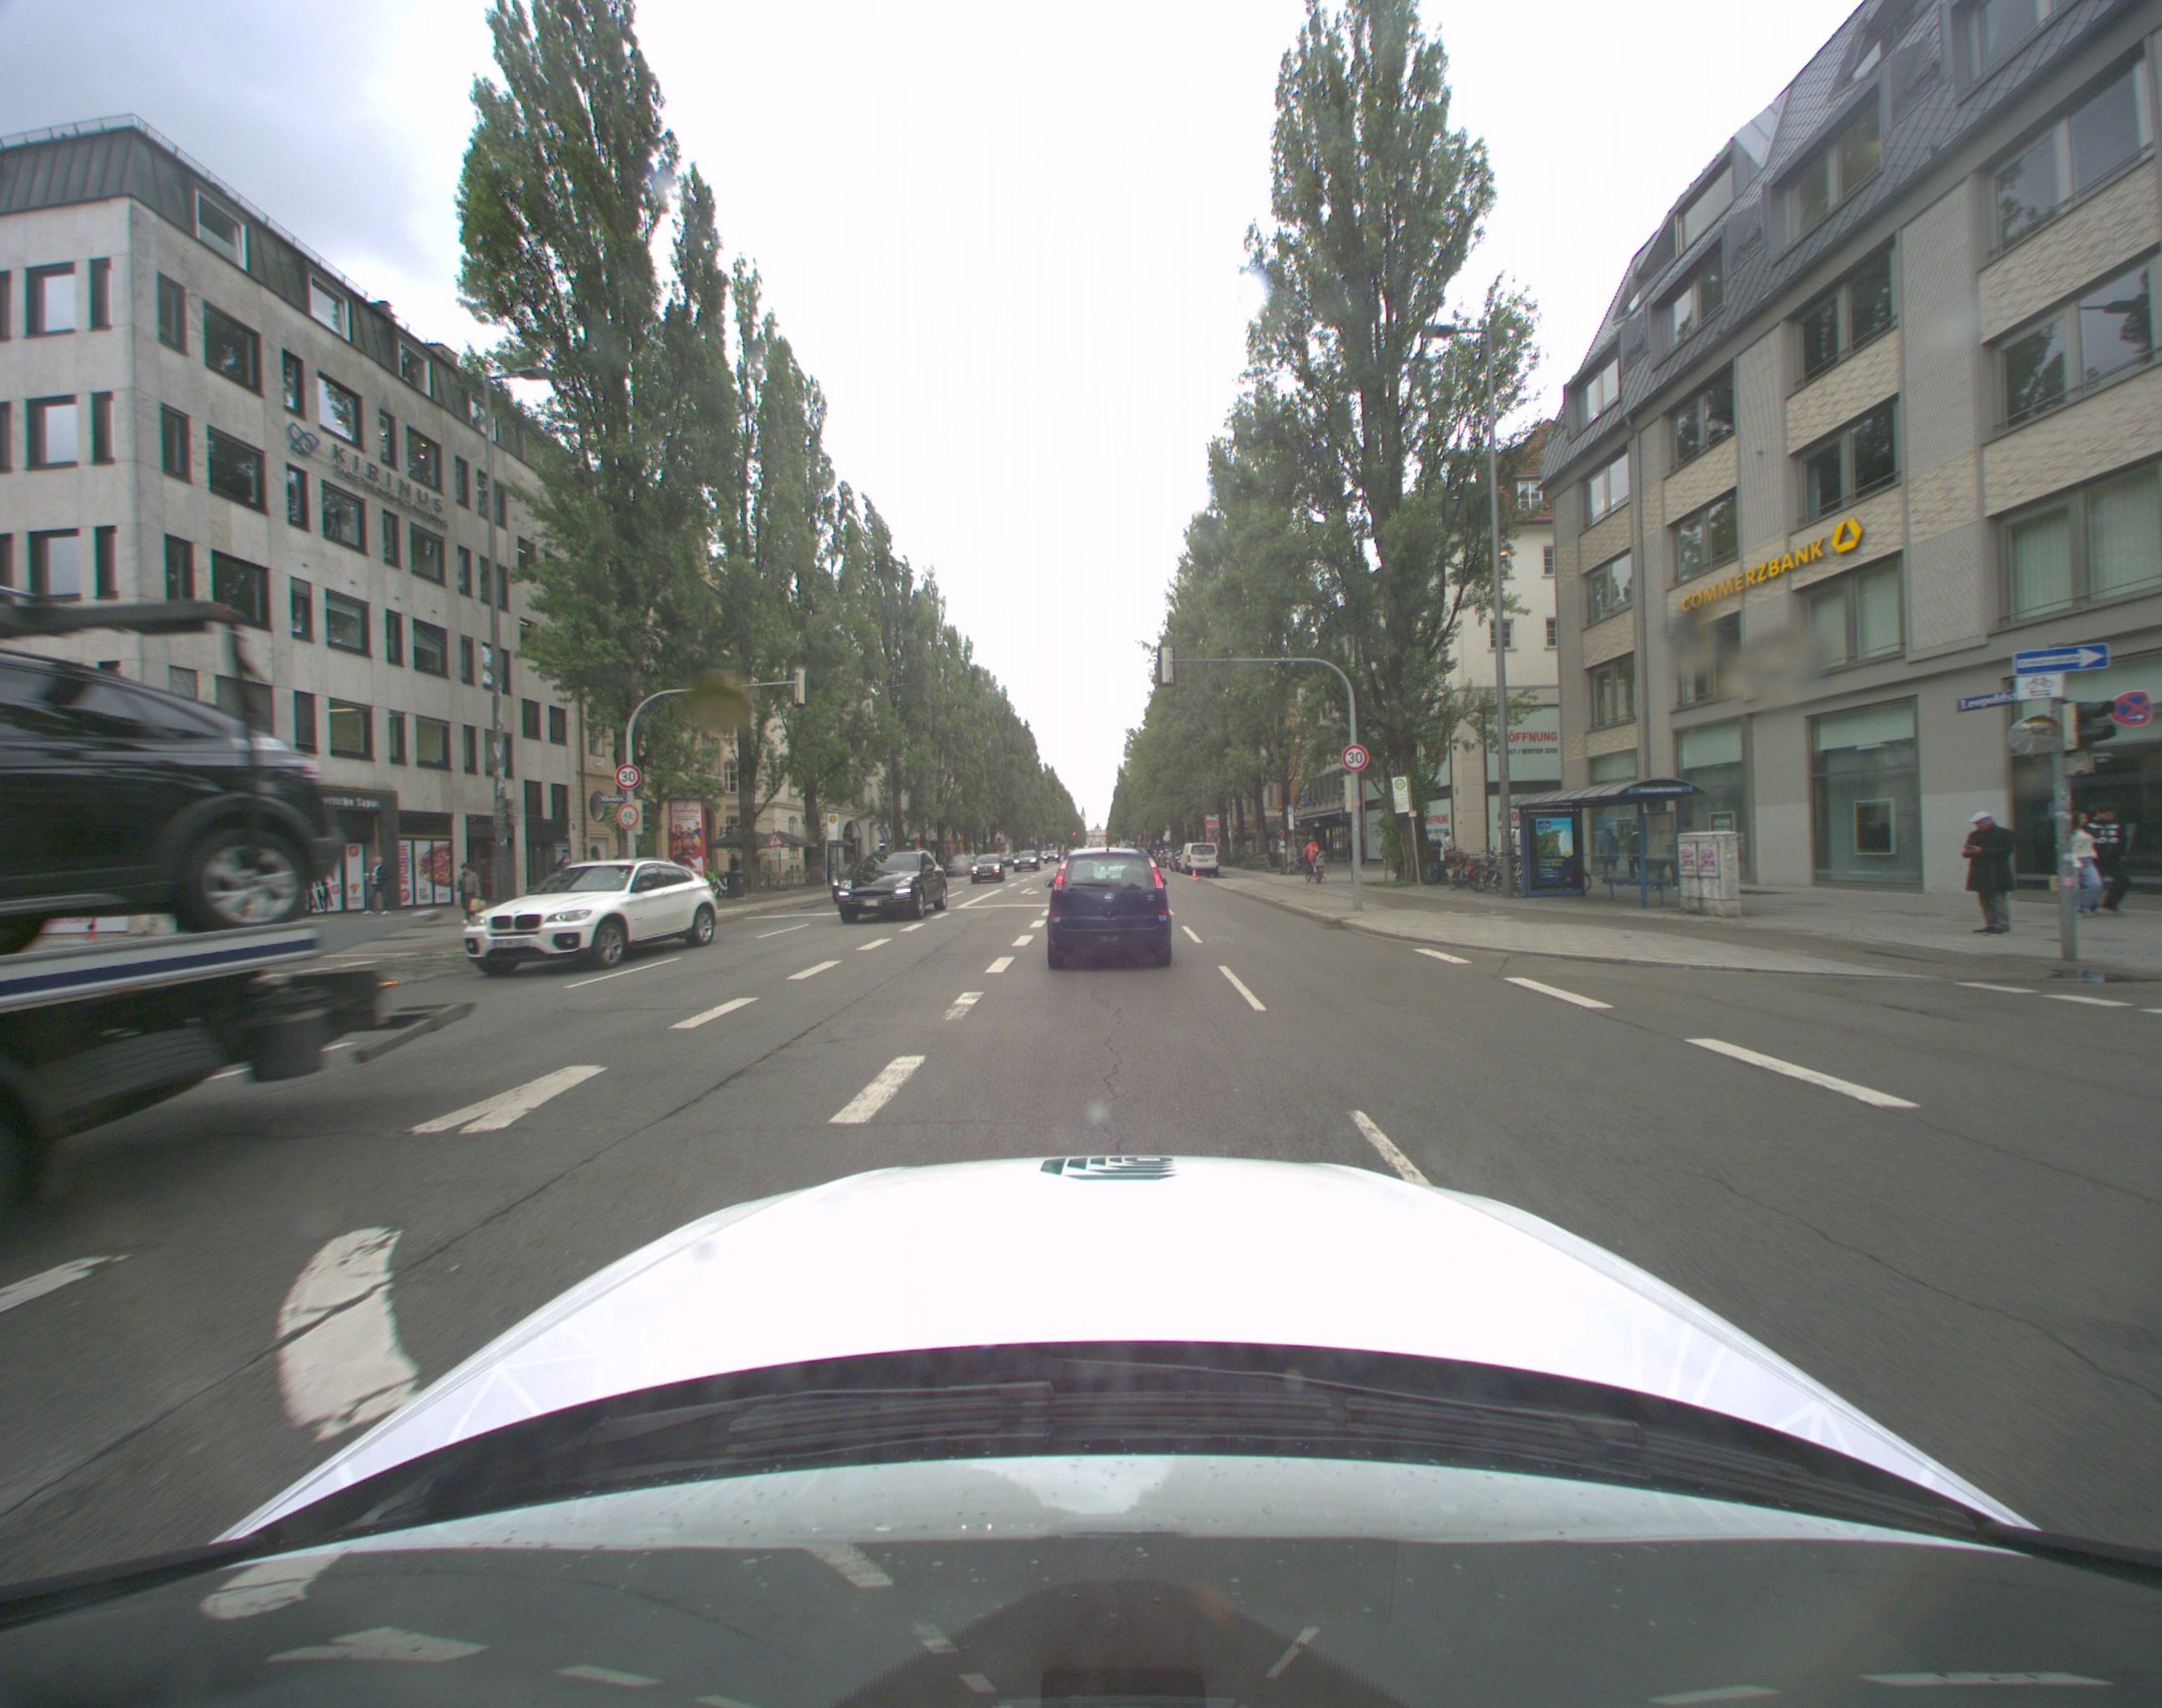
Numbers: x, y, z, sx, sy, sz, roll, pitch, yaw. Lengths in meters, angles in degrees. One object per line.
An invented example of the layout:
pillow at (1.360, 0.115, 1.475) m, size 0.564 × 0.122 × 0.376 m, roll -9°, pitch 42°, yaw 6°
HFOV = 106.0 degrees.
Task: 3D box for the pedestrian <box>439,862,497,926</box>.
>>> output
pedestrian at (-16.390, 1.050, 21.791) m, size 0.775 × 1.618 × 0.935 m, roll -2°, pitch 0°, yaw 1°

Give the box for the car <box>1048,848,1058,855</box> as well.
car at (-6.455, -0.587, 187.587) m, size 1.987 × 1.662 × 4.000 m, roll -2°, pitch 0°, yaw 0°

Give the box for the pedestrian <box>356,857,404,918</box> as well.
pedestrian at (-21.427, 1.011, 24.914) m, size 0.696 × 1.787 × 0.821 m, roll -2°, pitch 0°, yaw 2°

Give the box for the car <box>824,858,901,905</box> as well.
car at (-7.899, 0.949, 29.749) m, size 1.636 × 1.439 × 3.997 m, roll -3°, pitch 0°, yaw 0°

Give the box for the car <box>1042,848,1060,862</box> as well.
car at (-3.690, 0.136, 101.572) m, size 1.928 × 1.623 × 4.337 m, roll -2°, pitch 0°, yaw 1°

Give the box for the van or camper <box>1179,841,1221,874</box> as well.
van or camper at (7.050, 0.190, 48.851) m, size 1.862 × 1.883 × 4.904 m, roll -1°, pitch 0°, yaw 1°

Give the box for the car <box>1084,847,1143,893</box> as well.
car at (1.126, 0.533, 29.921) m, size 1.987 × 1.497 × 4.000 m, roll -2°, pitch 1°, yaw 0°

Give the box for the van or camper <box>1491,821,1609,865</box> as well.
van or camper at (20.429, -0.459, 35.625) m, size 4.085 × 1.867 × 1.900 m, roll 0°, pitch 0°, yaw 4°

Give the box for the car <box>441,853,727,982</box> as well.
car at (-8.041, 0.897, 13.846) m, size 1.830 × 1.716 × 4.637 m, roll -3°, pitch 0°, yaw 2°

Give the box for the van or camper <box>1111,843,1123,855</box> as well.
van or camper at (8.184, -1.068, 185.378) m, size 2.468 × 2.580 × 5.846 m, roll -2°, pitch 0°, yaw 1°

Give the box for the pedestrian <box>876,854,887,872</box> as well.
pedestrian at (-17.672, 0.778, 72.090) m, size 0.766 × 1.537 × 0.805 m, roll -2°, pitch 0°, yaw 0°

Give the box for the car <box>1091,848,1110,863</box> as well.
car at (2.062, 0.119, 88.712) m, size 1.987 × 1.497 × 4.000 m, roll -2°, pitch 0°, yaw 0°

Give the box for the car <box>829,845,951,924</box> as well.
car at (-4.684, 0.672, 20.697) m, size 1.877 × 1.746 × 4.441 m, roll -2°, pitch 0°, yaw 2°

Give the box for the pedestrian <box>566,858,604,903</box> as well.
pedestrian at (-17.804, 0.933, 29.266) m, size 0.748 × 1.567 × 0.989 m, roll 0°, pitch 0°, yaw -1°

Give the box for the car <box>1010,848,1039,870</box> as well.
car at (-4.487, 0.382, 65.575) m, size 1.906 × 1.680 × 4.587 m, roll -2°, pitch 0°, yaw 1°

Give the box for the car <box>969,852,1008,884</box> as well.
car at (-4.839, 0.701, 43.134) m, size 1.556 × 1.496 × 3.695 m, roll -3°, pitch 0°, yaw 0°

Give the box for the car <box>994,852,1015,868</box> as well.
car at (-8.779, 0.683, 93.924) m, size 1.859 × 1.654 × 4.615 m, roll -4°, pitch 0°, yaw 0°

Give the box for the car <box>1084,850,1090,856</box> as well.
car at (1.804, -0.356, 259.643) m, size 1.829 × 1.677 × 3.779 m, roll -2°, pitch 0°, yaw 1°

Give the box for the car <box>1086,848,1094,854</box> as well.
car at (2.401, -0.712, 208.162) m, size 1.955 × 1.399 × 3.779 m, roll -2°, pitch 0°, yaw 1°

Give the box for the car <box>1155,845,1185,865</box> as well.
car at (7.078, 0.069, 65.052) m, size 1.812 × 1.506 × 4.229 m, roll -2°, pitch 0°, yaw -2°

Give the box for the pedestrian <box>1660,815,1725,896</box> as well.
pedestrian at (14.243, 0.036, 18.983) m, size 0.815 × 1.818 × 0.890 m, roll -1°, pitch 0°, yaw -1°

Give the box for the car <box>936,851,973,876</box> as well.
car at (-9.482, 0.694, 61.319) m, size 1.813 × 1.617 × 4.719 m, roll -1°, pitch 2°, yaw 2°

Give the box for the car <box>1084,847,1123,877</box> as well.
car at (1.175, 0.405, 44.478) m, size 1.987 × 1.497 × 4.000 m, roll -2°, pitch 1°, yaw 0°

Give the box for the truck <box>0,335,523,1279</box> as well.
truck at (-5.452, -0.168, 1.738) m, size 2.454 × 3.670 × 8.441 m, roll -2°, pitch 0°, yaw 1°

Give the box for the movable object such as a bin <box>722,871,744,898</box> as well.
movable object such as a bin at (-13.795, 1.200, 32.269) m, size 0.726 × 1.041 × 0.848 m, roll 0°, pitch 0°, yaw -28°

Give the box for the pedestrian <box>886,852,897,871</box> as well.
pedestrian at (-17.291, 0.686, 74.197) m, size 0.731 × 1.673 × 0.953 m, roll -2°, pitch 0°, yaw 1°

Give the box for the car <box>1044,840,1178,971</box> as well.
car at (0.393, 0.639, 12.374) m, size 1.675 × 1.641 × 4.000 m, roll -1°, pitch 1°, yaw 0°

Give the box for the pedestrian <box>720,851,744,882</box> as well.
pedestrian at (-19.504, 0.696, 45.503) m, size 0.901 × 1.744 × 0.822 m, roll 0°, pitch 0°, yaw 6°

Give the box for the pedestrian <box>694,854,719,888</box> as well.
pedestrian at (-19.752, 0.887, 43.011) m, size 0.840 × 1.744 × 0.955 m, roll 0°, pitch 0°, yaw 2°

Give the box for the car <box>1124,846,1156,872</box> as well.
car at (3.892, 0.288, 54.598) m, size 1.701 × 1.574 × 3.998 m, roll -2°, pitch 1°, yaw -2°

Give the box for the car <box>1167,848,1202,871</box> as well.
car at (6.839, 0.359, 54.240) m, size 1.714 × 1.442 × 4.352 m, roll 0°, pitch 0°, yaw -1°

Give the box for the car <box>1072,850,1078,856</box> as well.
car at (-2.038, -0.227, 262.100) m, size 1.829 × 1.739 × 3.779 m, roll -2°, pitch 0°, yaw 1°
